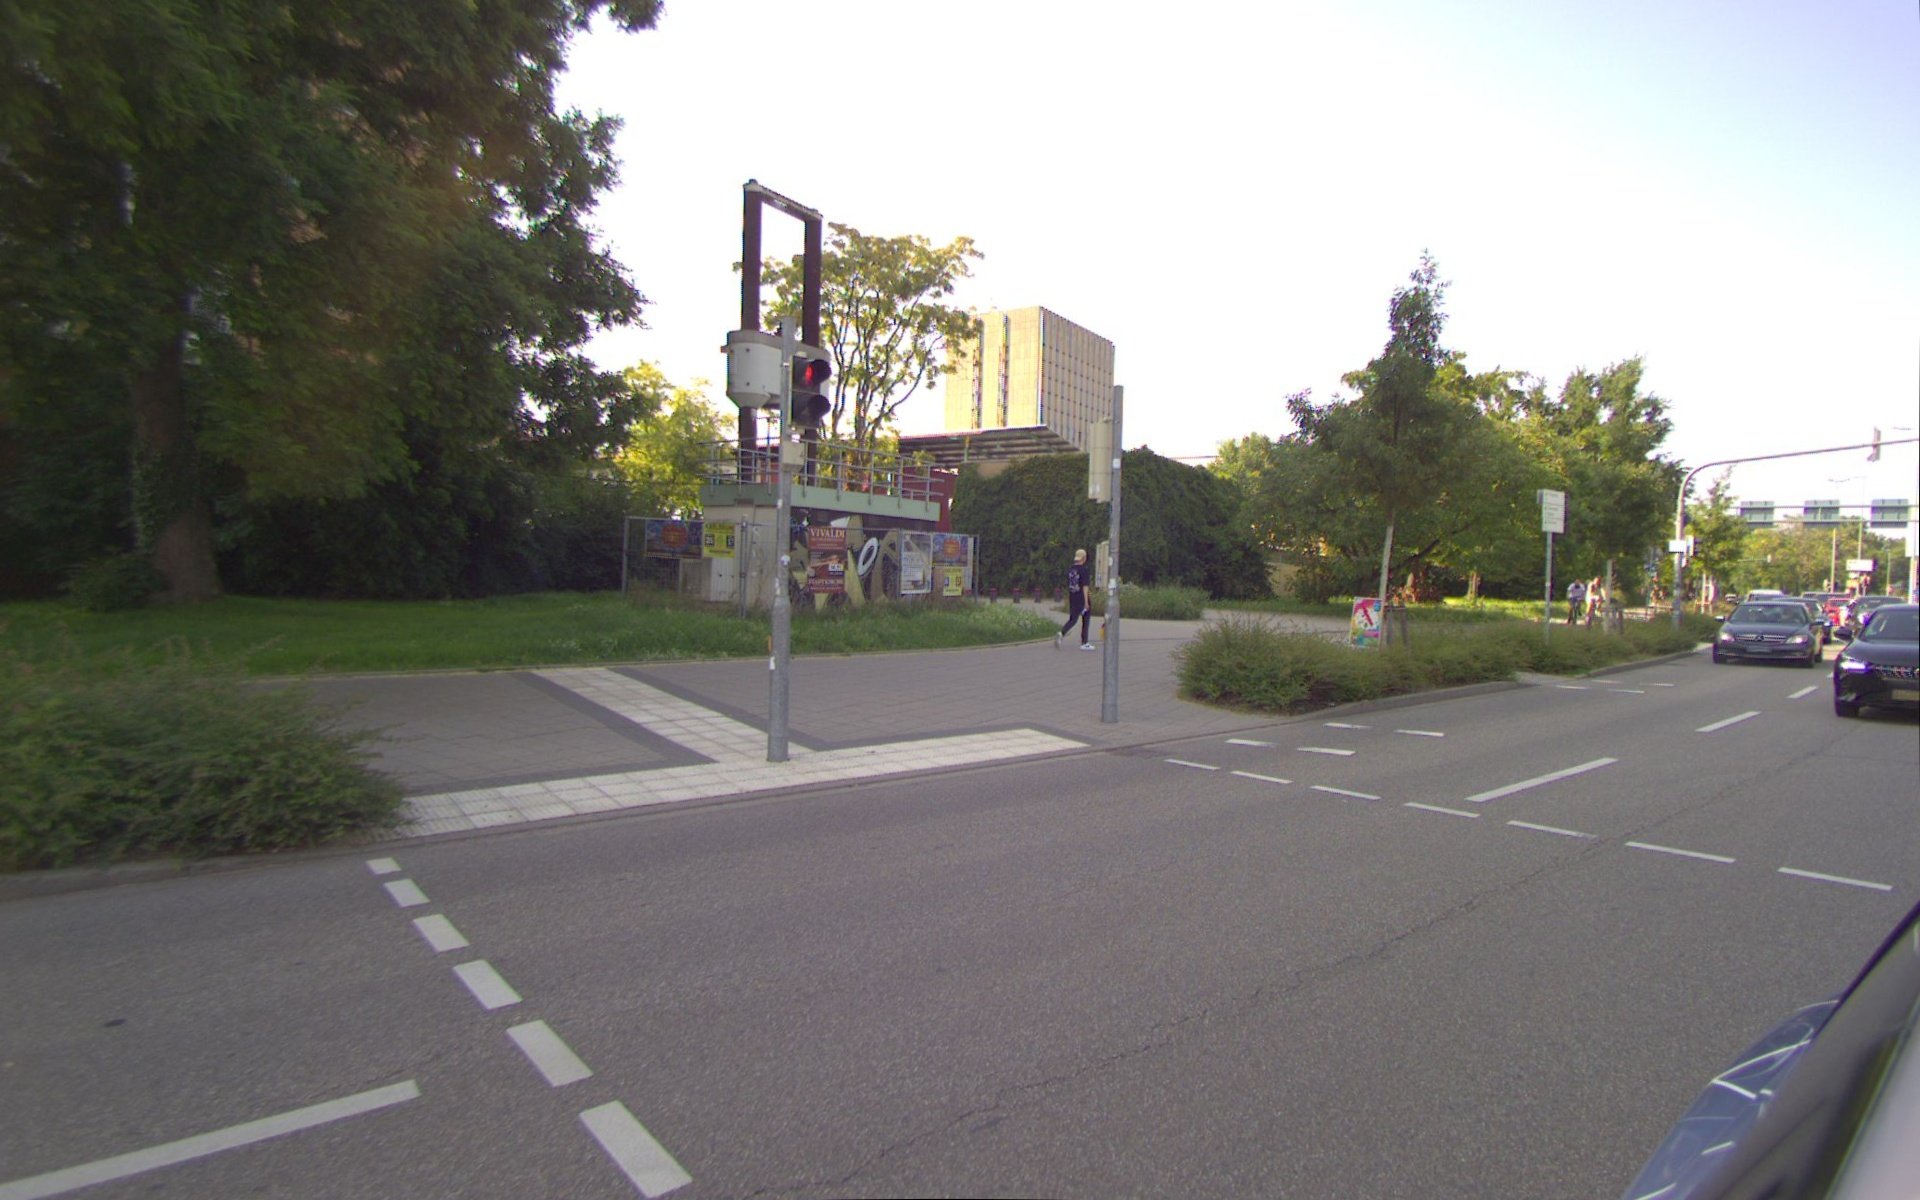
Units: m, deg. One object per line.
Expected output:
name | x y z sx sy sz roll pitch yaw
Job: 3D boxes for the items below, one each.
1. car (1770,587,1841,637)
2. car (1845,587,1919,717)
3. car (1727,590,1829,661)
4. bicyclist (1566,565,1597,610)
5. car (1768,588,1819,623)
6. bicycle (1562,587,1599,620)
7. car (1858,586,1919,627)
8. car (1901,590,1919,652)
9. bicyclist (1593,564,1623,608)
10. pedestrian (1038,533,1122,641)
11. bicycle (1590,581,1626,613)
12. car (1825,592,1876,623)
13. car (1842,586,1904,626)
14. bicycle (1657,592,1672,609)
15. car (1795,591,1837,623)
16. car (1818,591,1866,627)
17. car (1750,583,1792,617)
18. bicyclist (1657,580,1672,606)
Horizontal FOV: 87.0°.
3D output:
car | 28.289 0.349 33.889 1.681 1.510 4.605 3 2 40
car | 12.814 0.591 13.160 4.301 1.510 1.683 0 0 -45
car | 18.967 0.518 23.391 1.681 1.460 4.307 1 1 41
bicyclist | 22.636 -0.462 36.855 0.771 1.612 0.910 3 2 42
car | 39.566 0.215 48.114 1.679 1.510 4.312 3 2 38
bicycle | 22.616 0.123 36.868 0.770 1.131 2.269 3 2 41
car | 37.162 0.217 40.379 1.679 1.510 4.312 3 2 38
car | 24.617 0.504 24.970 1.830 1.453 4.483 2 2 41
bicyclist | 24.236 -0.540 37.845 0.771 1.613 0.910 2 1 42
pedestrian | 2.104 -0.240 17.759 0.985 1.804 0.960 0 4 -42
bicycle | 24.281 -0.124 37.901 0.771 1.131 2.269 2 2 42
car | 47.274 0.356 53.785 1.679 1.510 4.312 3 2 38
car | 42.364 0.233 47.020 1.775 1.625 4.361 3 3 38
bicycle | 46.558 0.022 66.915 0.768 1.131 2.275 2 1 35
car | 56.520 0.451 66.907 1.677 1.965 4.022 3 2 35
car | 51.235 0.480 58.827 1.678 1.965 4.021 3 2 36
car | 49.657 -0.043 62.015 1.678 1.965 4.316 3 2 36
bicyclist | 46.533 -0.448 66.881 0.769 1.697 0.912 2 1 35
